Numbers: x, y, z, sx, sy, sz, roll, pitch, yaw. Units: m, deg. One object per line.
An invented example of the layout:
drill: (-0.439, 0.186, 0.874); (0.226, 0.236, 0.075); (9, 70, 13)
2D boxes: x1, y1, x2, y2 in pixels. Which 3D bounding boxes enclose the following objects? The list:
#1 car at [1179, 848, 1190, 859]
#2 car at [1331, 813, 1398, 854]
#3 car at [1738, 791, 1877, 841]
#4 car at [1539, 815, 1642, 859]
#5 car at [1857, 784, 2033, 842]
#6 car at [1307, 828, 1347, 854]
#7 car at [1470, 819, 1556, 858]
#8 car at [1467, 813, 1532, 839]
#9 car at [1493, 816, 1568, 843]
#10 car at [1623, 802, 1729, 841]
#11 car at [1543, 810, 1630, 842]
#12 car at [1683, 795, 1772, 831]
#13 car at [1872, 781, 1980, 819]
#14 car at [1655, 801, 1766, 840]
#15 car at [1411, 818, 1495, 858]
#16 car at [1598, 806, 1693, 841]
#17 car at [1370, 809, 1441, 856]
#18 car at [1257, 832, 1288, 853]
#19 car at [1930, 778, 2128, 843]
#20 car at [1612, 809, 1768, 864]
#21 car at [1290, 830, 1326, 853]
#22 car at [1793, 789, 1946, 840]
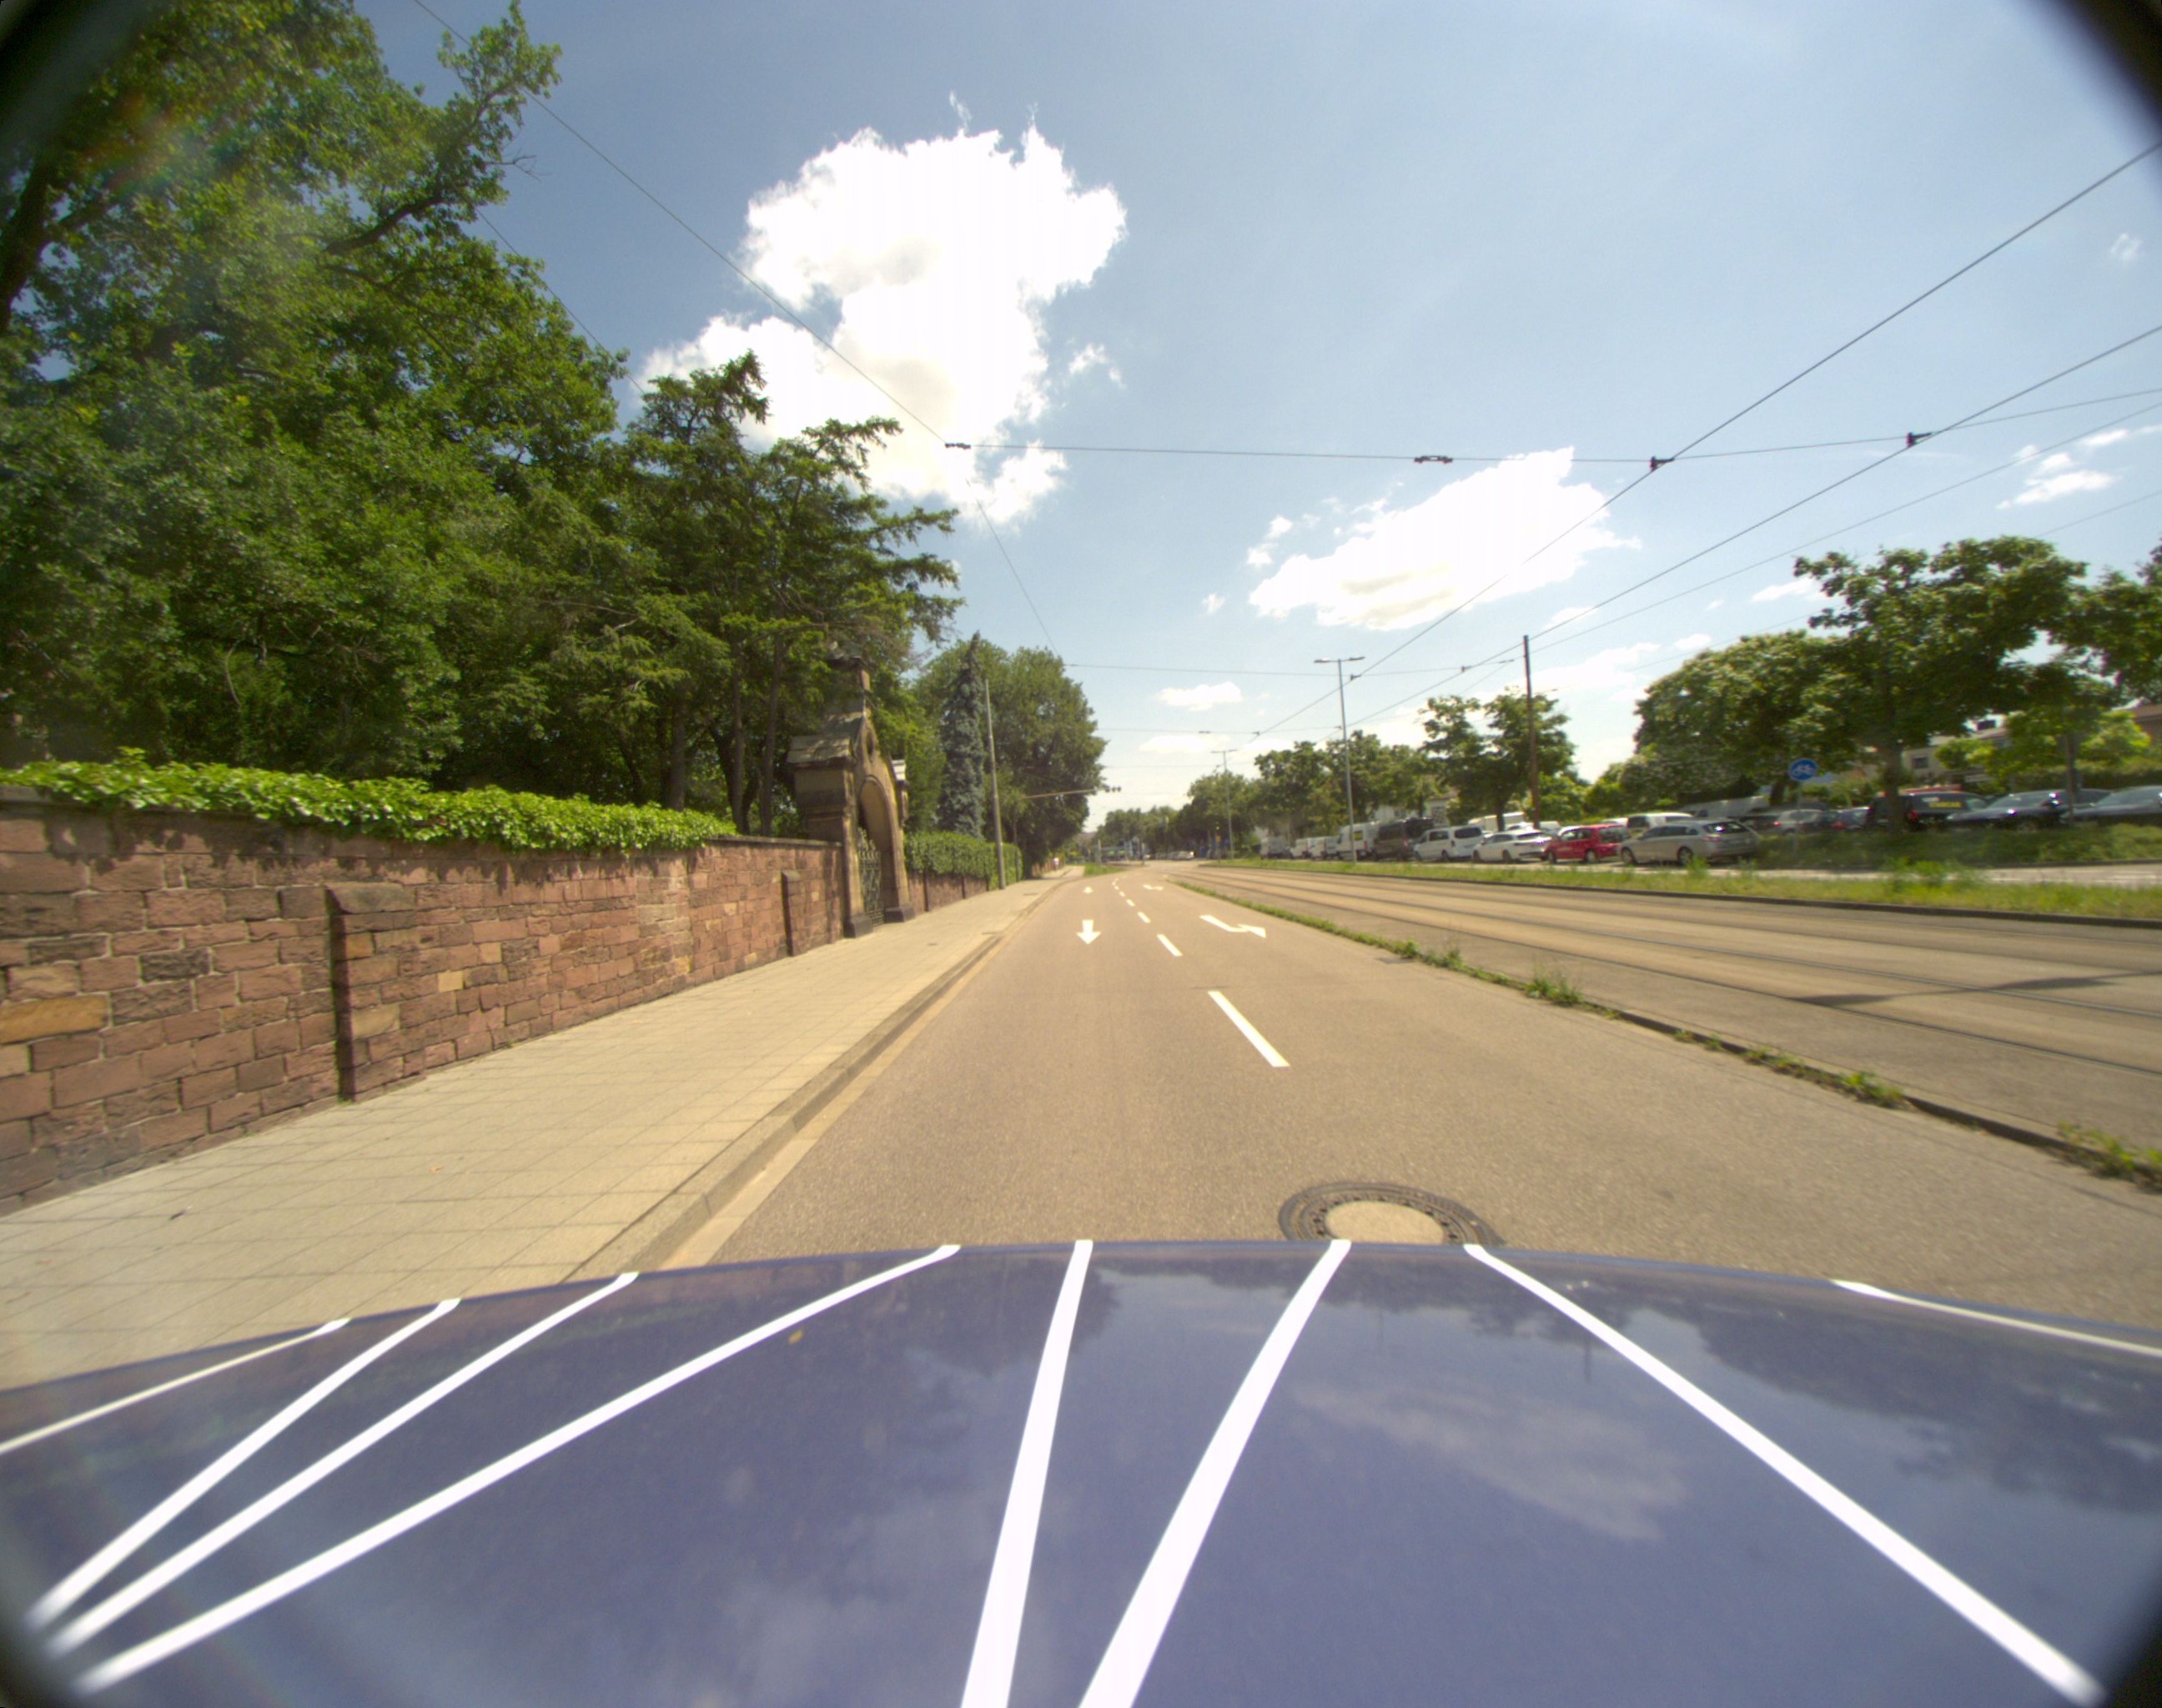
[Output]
car: (17.095, -0.063, 126.050); (1.681, 1.680, 3.546); (-2, 1, 7)
car: (20.772, -1.462, 56.032); (2.156, 2.596, 6.703); (-6, 1, 0)
car: (30.513, -1.575, 31.986); (3.997, 1.726, 1.803); (-4, 1, 1)
car: (20.394, -0.660, 30.589); (1.503, 1.531, 3.648); (-6, 1, -2)
car: (30.718, -1.421, 27.114); (3.997, 1.726, 1.879); (-4, 1, 1)
car: (20.927, -1.097, 64.750); (1.794, 1.927, 4.648); (-6, 1, 1)
car: (19.941, -0.706, 35.287); (1.503, 1.531, 4.359); (-6, 1, 2)
car: (45.239, -3.013, 82.218); (5.698, 2.467, 2.259); (-4, 1, -2)
car: (32.049, -1.722, 54.233); (4.199, 1.726, 1.803); (-2, 1, 1)
car: (31.422, -1.676, 40.222); (3.997, 1.726, 1.903); (-4, 1, 1)
car: (30.440, -1.642, 45.842); (3.996, 1.726, 1.803); (-2, 1, 1)
car: (44.761, -2.829, 52.689); (4.652, 2.212, 1.851); (-2, 1, -2)
car: (43.832, -2.774, 39.463); (3.745, 1.726, 1.760); (-2, 1, -2)
car: (31.168, -1.630, 37.698); (3.996, 1.726, 1.803); (-2, 1, 1)
car: (20.456, -0.865, 42.011); (2.156, 1.827, 4.888); (-6, 1, 1)
car: (31.927, -1.704, 43.022); (3.996, 1.726, 1.803); (-2, 1, 1)
car: (20.340, -1.347, 47.912); (2.156, 2.596, 5.033); (-6, 1, 1)
car: (21.094, -1.284, 83.863); (2.071, 2.089, 4.488); (-6, 1, -1)
car: (30.441, -1.373, 24.504); (3.997, 1.726, 1.803); (-4, 1, 1)
car: (20.178, -0.578, 25.476); (1.580, 1.531, 4.550); (-6, 1, 2)
car: (21.205, -1.162, 71.283); (1.795, 1.927, 4.488); (-6, 1, -1)
car: (30.537, -1.508, 29.524); (3.996, 1.726, 1.803); (-2, 1, 1)
